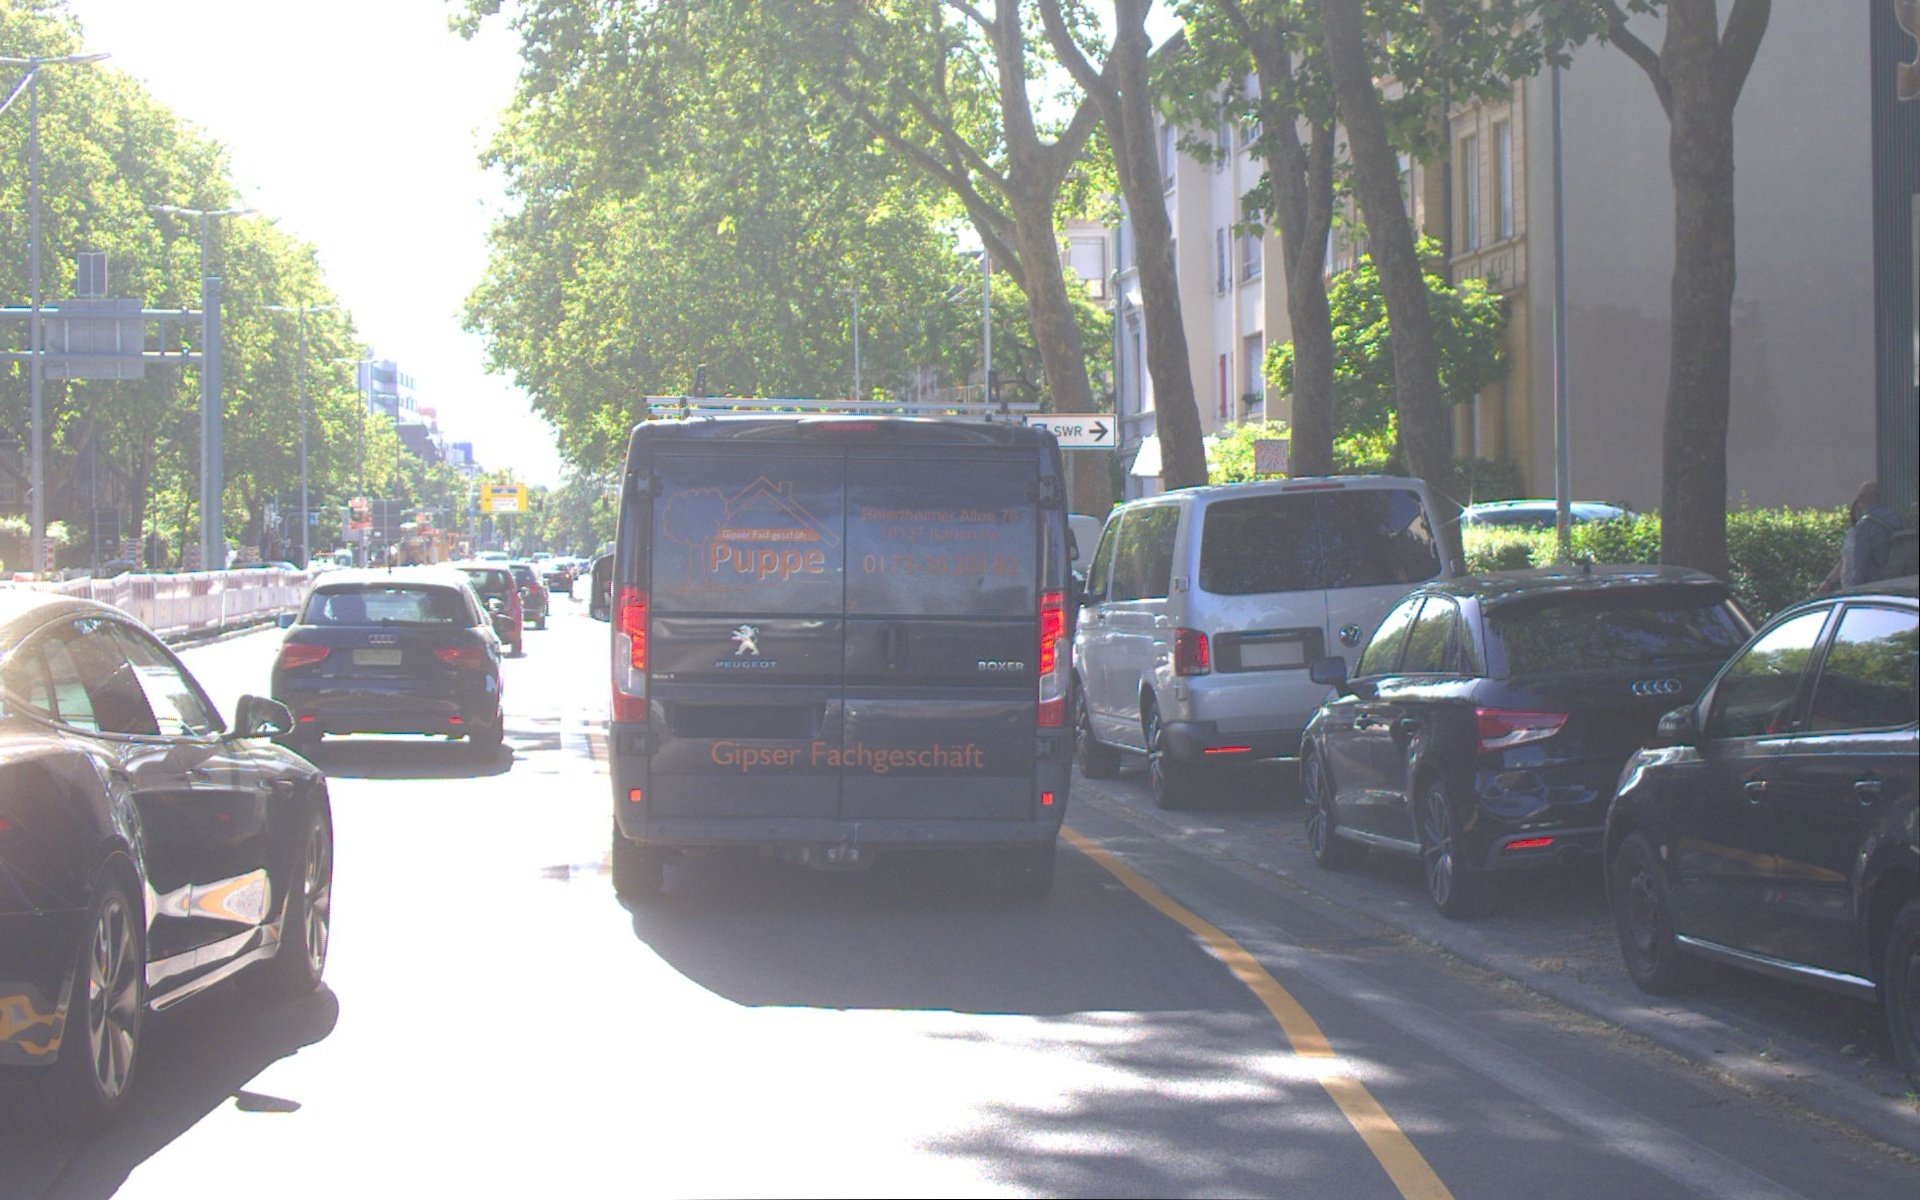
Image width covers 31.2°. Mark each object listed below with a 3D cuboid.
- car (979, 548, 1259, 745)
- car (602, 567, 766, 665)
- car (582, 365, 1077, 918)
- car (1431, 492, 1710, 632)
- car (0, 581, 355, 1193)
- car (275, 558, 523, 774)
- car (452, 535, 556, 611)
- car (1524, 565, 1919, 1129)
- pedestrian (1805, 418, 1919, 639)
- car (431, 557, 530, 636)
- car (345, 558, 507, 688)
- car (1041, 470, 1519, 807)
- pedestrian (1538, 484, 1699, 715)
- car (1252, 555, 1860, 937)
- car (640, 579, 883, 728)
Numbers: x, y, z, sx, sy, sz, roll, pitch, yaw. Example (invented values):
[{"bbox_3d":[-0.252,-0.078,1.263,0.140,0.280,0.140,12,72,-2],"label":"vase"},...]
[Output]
[{"bbox_3d":[1.226,0.330,28.292,1.747,1.472,4.102,-1,1,-5],"label":"car"},{"bbox_3d":[-3.786,0.190,46.586,1.993,1.245,4.001,0,1,-8],"label":"car"},{"bbox_3d":[-0.699,0.136,16.606,2.095,2.347,3.934,0,1,-4],"label":"car"},{"bbox_3d":[8.370,-0.535,47.336,1.704,1.847,3.506,0,1,-39],"label":"car"},{"bbox_3d":[-3.202,0.669,10.216,1.925,1.407,4.626,0,1,1],"label":"car"},{"bbox_3d":[-4.314,0.455,26.667,1.746,1.402,4.002,1,2,-8],"label":"car"},{"bbox_3d":[-9.956,-0.591,75.275,1.993,1.583,4.001,-1,1,-4],"label":"car"},{"bbox_3d":[3.259,0.648,10.981,1.763,1.503,4.252,0,1,-7],"label":"car"},{"bbox_3d":[6.981,-0.557,26.315,0.705,1.643,0.675,2,3,-9],"label":"pedestrian"},{"bbox_3d":[-7.669,-0.068,55.164,1.421,1.221,3.438,-1,1,-5],"label":"car"},{"bbox_3d":[-6.112,0.242,39.650,1.547,1.420,3.555,0,0,-4],"label":"car"},{"bbox_3d":[1.928,0.189,22.583,2.025,1.940,5.274,0,1,-7],"label":"car"},{"bbox_3d":[4.668,-0.010,24.445,0.727,1.597,1.267,0,1,-9],"label":"pedestrian"},{"bbox_3d":[2.588,0.568,15.929,1.657,1.535,4.129,0,1,-7],"label":"car"},{"bbox_3d":[-1.900,0.447,31.755,1.918,1.245,4.001,-1,1,-8],"label":"car"}]
